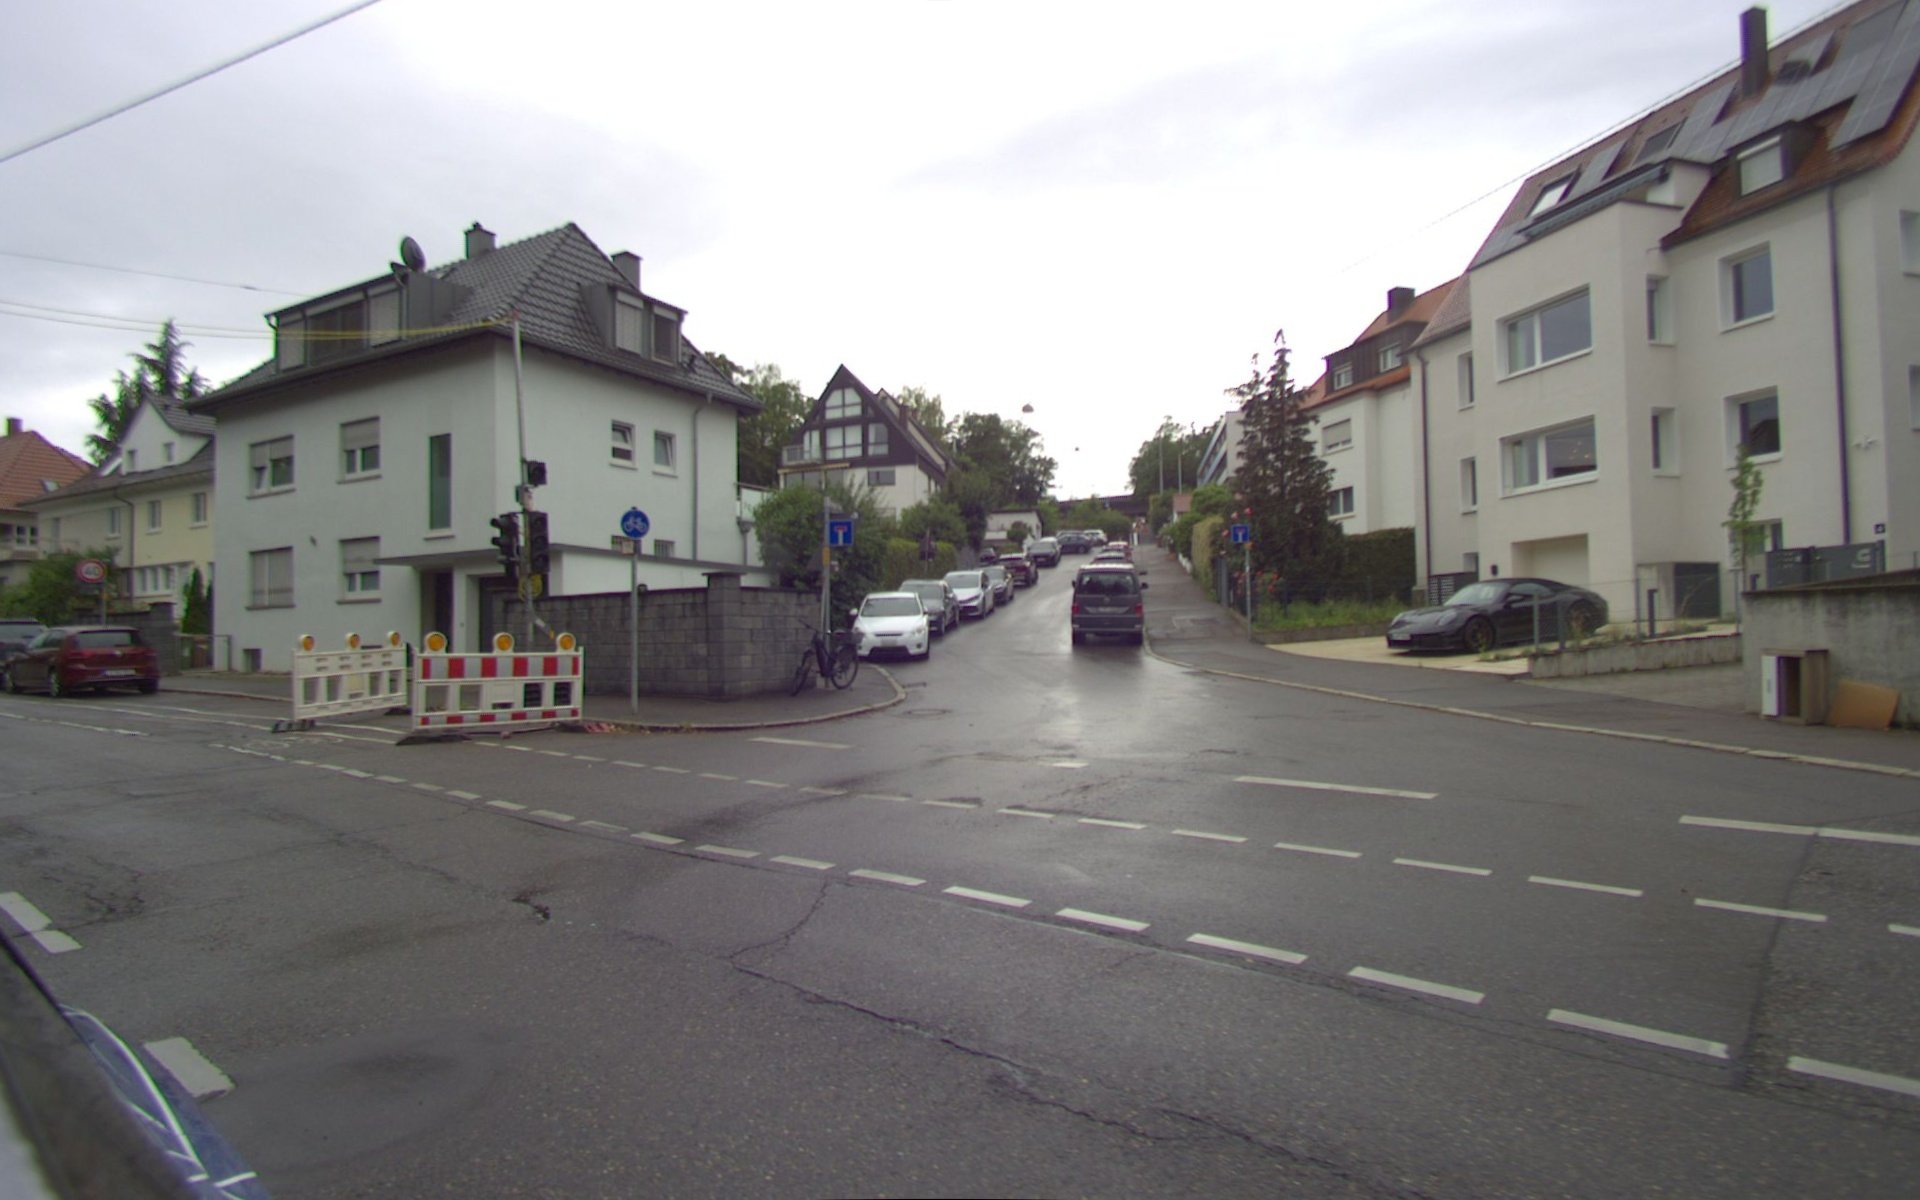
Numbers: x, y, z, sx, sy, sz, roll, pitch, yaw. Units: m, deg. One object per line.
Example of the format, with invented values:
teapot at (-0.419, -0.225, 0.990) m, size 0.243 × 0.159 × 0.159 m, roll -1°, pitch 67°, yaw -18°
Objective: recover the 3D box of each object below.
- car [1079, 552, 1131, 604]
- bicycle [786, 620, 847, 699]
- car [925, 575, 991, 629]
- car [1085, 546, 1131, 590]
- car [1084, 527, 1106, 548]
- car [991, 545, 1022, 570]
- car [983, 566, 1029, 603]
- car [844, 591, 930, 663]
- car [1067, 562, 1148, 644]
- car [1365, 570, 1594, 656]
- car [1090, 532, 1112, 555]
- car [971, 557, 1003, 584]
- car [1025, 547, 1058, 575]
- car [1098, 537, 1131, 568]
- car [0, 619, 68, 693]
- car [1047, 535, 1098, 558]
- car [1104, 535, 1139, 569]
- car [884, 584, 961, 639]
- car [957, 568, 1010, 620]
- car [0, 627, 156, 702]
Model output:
car at (5.447, -0.870, 38.026) m, size 1.847 × 1.758 × 3.991 m, roll 0°, pitch 3°, yaw 8°
bicycle at (-2.279, 0.922, 16.233) m, size 0.459 × 1.132 × 1.513 m, roll 0°, pitch 1°, yaw 12°
car at (-0.017, 0.020, 34.911) m, size 1.868 × 1.733 × 3.993 m, roll 0°, pitch 1°, yaw 6°
car at (6.314, -1.406, 43.295) m, size 1.847 × 1.758 × 3.991 m, roll 0°, pitch 3°, yaw 8°
car at (13.701, -6.289, 102.442) m, size 1.979 × 2.028 × 3.987 m, roll 0°, pitch 1°, yaw 11°
car at (3.279, -3.003, 72.136) m, size 1.864 × 1.733 × 4.002 m, roll 0°, pitch 1°, yaw -2°
car at (2.325, -0.798, 50.060) m, size 1.870 × 1.733 × 3.990 m, roll 0°, pitch 1°, yaw 9°
car at (-1.657, 0.574, 24.032) m, size 1.864 × 1.477 × 4.002 m, roll 0°, pitch 1°, yaw -2°
car at (3.935, 0.000, 27.011) m, size 1.977 × 1.933 × 3.991 m, roll 0°, pitch 3°, yaw 8°
car at (10.094, 0.226, 19.744) m, size 3.754 × 1.519 × 1.740 m, roll -1°, pitch -1°, yaw -15°
car at (13.533, -5.348, 96.749) m, size 1.978 × 2.028 × 3.988 m, roll 0°, pitch 1°, yaw 10°
car at (1.755, -1.974, 67.494) m, size 1.864 × 1.733 × 4.002 m, roll 0°, pitch 1°, yaw -2°
car at (5.359, -2.515, 65.916) m, size 1.870 × 1.733 × 3.990 m, roll 0°, pitch 1°, yaw 9°
car at (9.270, -2.885, 60.818) m, size 1.847 × 1.758 × 3.991 m, roll 0°, pitch 3°, yaw 8°
car at (-23.527, 1.350, 24.132) m, size 4.379 × 1.671 × 1.745 m, roll -2°, pitch -3°, yaw 25°
car at (9.099, -4.318, 81.608) m, size 3.957 × 1.733 × 1.885 m, roll 0°, pitch 1°, yaw 11°
car at (8.950, -2.698, 56.350) m, size 1.847 × 1.758 × 3.991 m, roll 0°, pitch 3°, yaw 8°
car at (-1.041, 0.284, 29.985) m, size 1.867 × 1.477 × 3.995 m, roll 0°, pitch 1°, yaw 4°
car at (0.999, -0.277, 40.759) m, size 1.868 × 2.007 × 3.993 m, roll 0°, pitch 1°, yaw 6°
car at (-19.025, 1.351, 21.659) m, size 4.217 × 1.451 × 1.603 m, roll -2°, pitch -2°, yaw 33°
